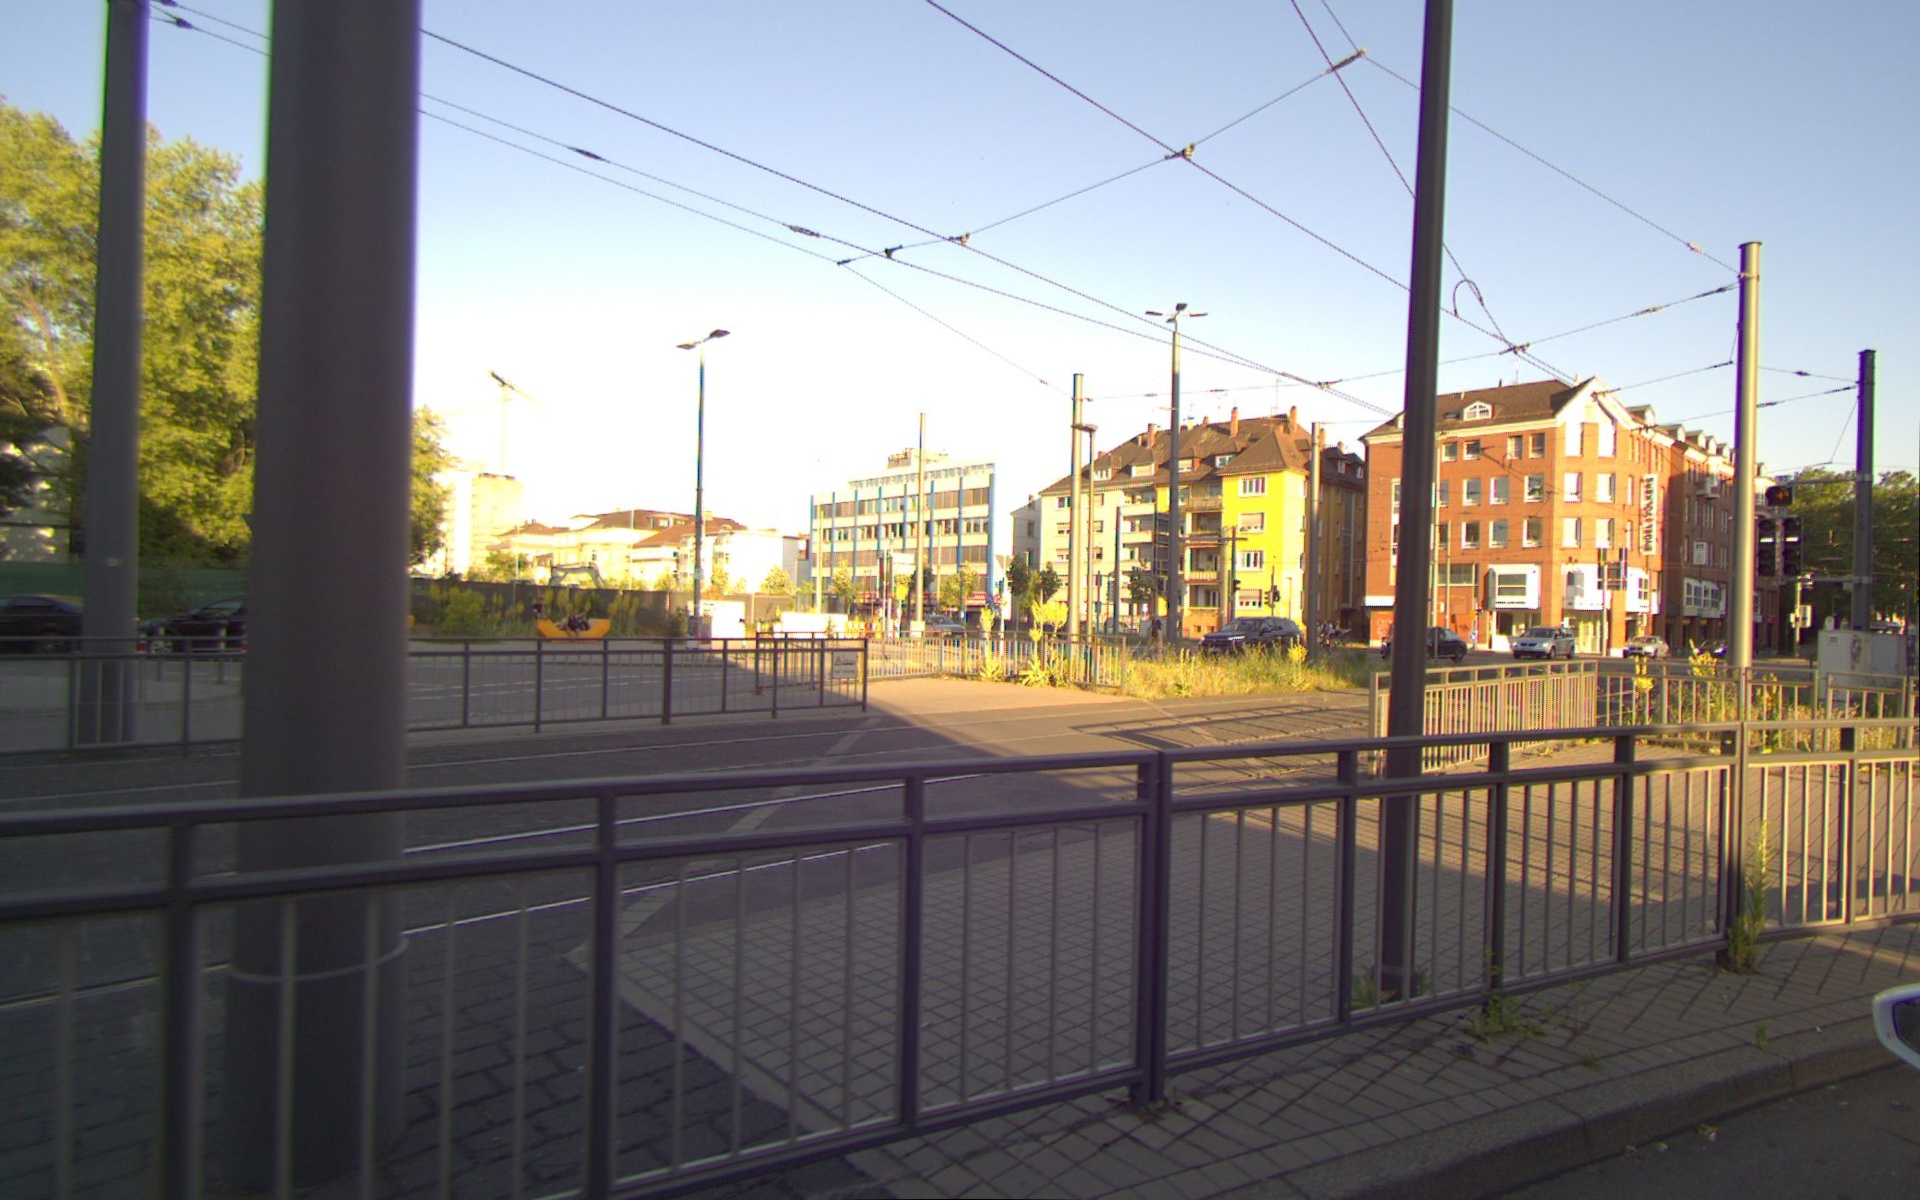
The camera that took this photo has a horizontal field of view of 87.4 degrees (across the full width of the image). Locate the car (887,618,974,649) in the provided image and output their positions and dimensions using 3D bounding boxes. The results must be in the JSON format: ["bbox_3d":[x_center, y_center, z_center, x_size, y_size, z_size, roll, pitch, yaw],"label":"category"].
[{"bbox_3d":[-1.687,1.886,57.113,4.482,1.639,1.997,1,-1,28],"label":"car"}]

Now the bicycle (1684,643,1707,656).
[{"bbox_3d":[59.440,4.018,81.168,1.393,0.934,0.442,3,1,34],"label":"bicycle"}]

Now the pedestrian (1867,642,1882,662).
[{"bbox_3d":[82.854,4.701,91.005,0.720,1.703,0.979,2,-1,-41],"label":"pedestrian"}]

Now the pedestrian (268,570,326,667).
[{"bbox_3d":[-13.470,0.386,20.429,0.753,1.918,0.727,2,-1,-16],"label":"pedestrian"}]

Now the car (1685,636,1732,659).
[{"bbox_3d":[55.422,3.504,74.354,4.447,1.606,1.975,2,-1,-43],"label":"car"}]

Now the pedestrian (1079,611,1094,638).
[{"bbox_3d":[8.751,1.696,69.307,0.708,1.892,0.883,1,-1,30],"label":"pedestrian"}]

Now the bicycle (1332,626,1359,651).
[{"bbox_3d":[22.102,2.208,57.606,2.002,1.343,0.612,2,1,-44],"label":"bicycle"}]

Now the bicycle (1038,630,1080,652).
[{"bbox_3d":[5.072,2.113,51.708,1.979,1.074,0.891,1,-1,39],"label":"bicycle"}]

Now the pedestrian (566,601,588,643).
[{"bbox_3d":[-15.520,0.903,40.686,0.528,1.681,0.597,1,-1,42],"label":"pedestrian"}]

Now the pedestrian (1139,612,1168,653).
[{"bbox_3d":[9.371,1.573,48.646,1.081,1.970,1.023,1,-1,31],"label":"pedestrian"}]

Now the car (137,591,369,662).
[{"bbox_3d":[-16.442,0.616,23.574,3.926,1.506,1.998,2,-1,-8],"label":"car"}]

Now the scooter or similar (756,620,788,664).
[{"bbox_3d":[-5.749,1.275,30.706,0.507,1.289,1.257,1,-1,11],"label":"scooter or similar"}]

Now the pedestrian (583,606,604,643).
[{"bbox_3d":[-15.064,1.010,41.274,0.620,1.515,0.634,2,-1,-41],"label":"pedestrian"}]

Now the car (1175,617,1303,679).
[{"bbox_3d":[9.530,1.600,34.065,4.778,1.926,1.975,2,-1,-43],"label":"car"}]

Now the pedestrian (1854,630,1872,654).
[{"bbox_3d":[79.046,3.689,87.942,0.720,2.040,0.979,2,1,-41],"label":"pedestrian"}]

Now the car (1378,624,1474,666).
[{"bbox_3d":[19.086,1.830,41.076,4.554,1.606,1.975,2,-1,-43],"label":"car"}]

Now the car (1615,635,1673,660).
[{"bbox_3d":[42.430,2.940,62.308,4.161,1.467,1.658,2,-1,-36],"label":"car"}]

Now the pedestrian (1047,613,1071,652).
[{"bbox_3d":[5.116,1.661,51.700,0.833,1.936,0.891,1,-1,39],"label":"pedestrian"}]

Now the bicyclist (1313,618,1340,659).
[{"bbox_3d":[15.723,1.652,43.091,0.969,1.711,0.658,2,-1,-34],"label":"bicyclist"}]

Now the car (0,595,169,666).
[{"bbox_3d":[-21.014,0.669,23.006,4.018,1.506,1.998,2,-1,-8],"label":"car"}]

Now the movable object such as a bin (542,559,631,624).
[{"bbox_3d":[-20.188,-0.408,54.341,4.287,3.272,1.987,2,-1,-26],"label":"movable object such as a bin"}]

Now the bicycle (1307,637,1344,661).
[{"bbox_3d":[15.673,2.094,43.061,1.606,1.022,0.662,2,-1,-34],"label":"bicycle"}]

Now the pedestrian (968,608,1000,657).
[{"bbox_3d":[0.969,1.261,39.630,0.869,1.892,0.975,1,-1,29],"label":"pedestrian"}]

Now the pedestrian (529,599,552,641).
[{"bbox_3d":[-16.801,0.808,40.240,0.526,1.681,0.599,1,-1,31],"label":"pedestrian"}]

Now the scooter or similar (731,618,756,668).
[{"bbox_3d":[-6.525,1.288,30.348,0.507,1.465,1.256,1,-1,-3],"label":"scooter or similar"}]

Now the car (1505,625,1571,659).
[{"bbox_3d":[29.123,2.113,50.542,1.972,1.606,4.090,1,-1,43],"label":"car"}]

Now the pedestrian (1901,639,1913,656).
[{"bbox_3d":[98.120,4.887,104.077,0.982,1.703,0.718,2,-1,-38],"label":"pedestrian"}]

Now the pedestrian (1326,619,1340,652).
[{"bbox_3d":[21.457,2.037,57.753,0.497,1.893,0.559,4,1,45],"label":"pedestrian"}]
